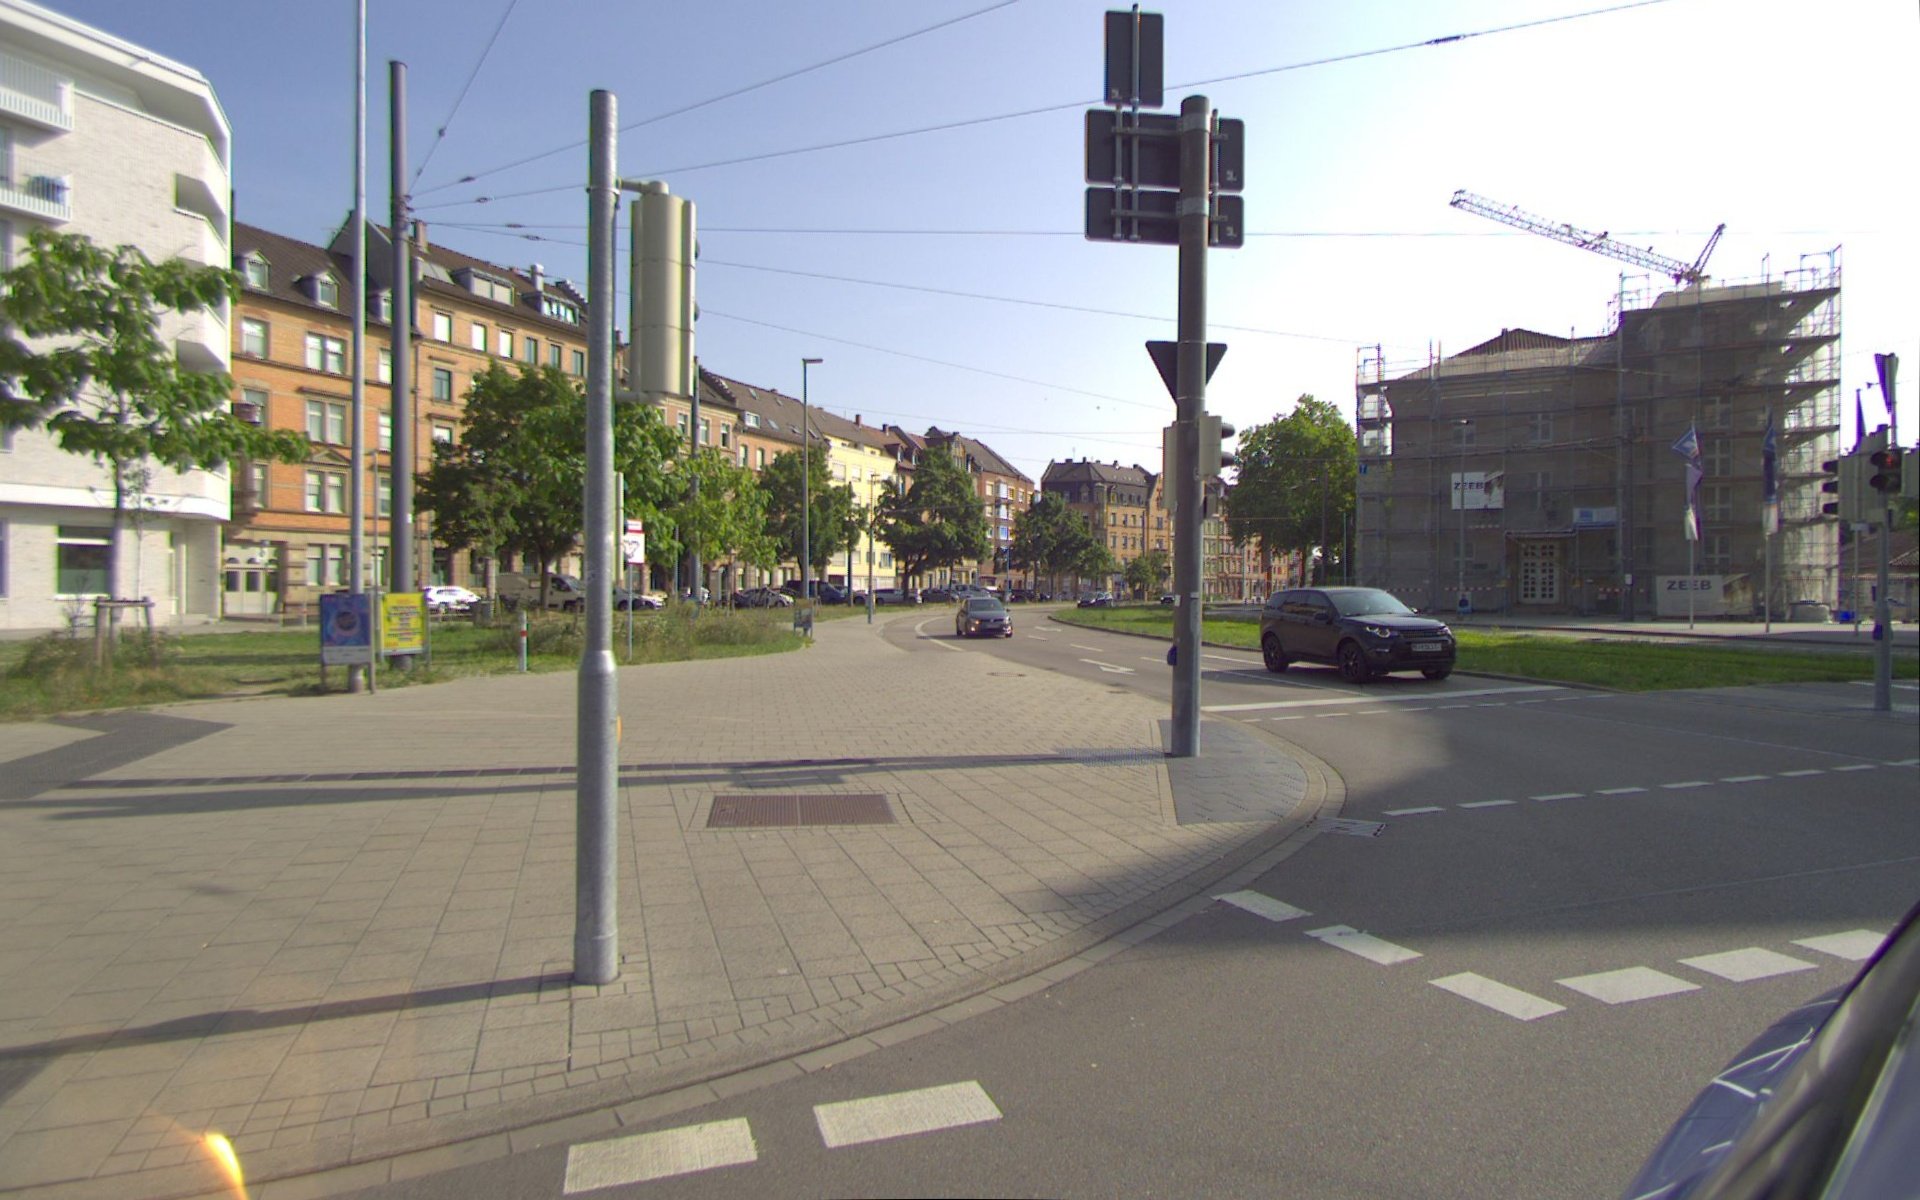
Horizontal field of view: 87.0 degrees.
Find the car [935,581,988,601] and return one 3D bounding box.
[{"bbox_3d":[0.177,-0.869,97.958,4.823,1.861,1.725,1,0,-12],"label":"car"}]

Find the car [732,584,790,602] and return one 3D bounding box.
[{"bbox_3d":[-13.569,-0.483,69.197,3.777,1.265,1.724,0,0,-8],"label":"car"}]

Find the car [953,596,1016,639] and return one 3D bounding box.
[{"bbox_3d":[0.834,0.588,36.842,1.611,1.437,3.901,0,1,-9],"label":"car"}]

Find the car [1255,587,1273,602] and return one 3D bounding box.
[{"bbox_3d":[44.641,-0.804,148.434,1.978,2.003,3.968,-1,1,24],"label":"car"}]

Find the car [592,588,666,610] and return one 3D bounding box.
[{"bbox_3d":[-18.864,-0.073,57.863,3.777,1.265,1.724,0,0,-8],"label":"car"}]

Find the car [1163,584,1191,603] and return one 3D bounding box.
[{"bbox_3d":[23.672,-0.756,110.299,1.981,2.039,3.963,0,1,27],"label":"car"}]

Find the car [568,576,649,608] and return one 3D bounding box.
[{"bbox_3d":[-19.268,-0.438,55.652,3.903,1.728,1.883,0,0,-8],"label":"car"}]

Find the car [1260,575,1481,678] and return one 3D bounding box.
[{"bbox_3d":[7.455,0.417,18.896,1.765,1.699,4.229,1,0,-11],"label":"car"}]

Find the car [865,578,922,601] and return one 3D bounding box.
[{"bbox_3d":[-5.615,-0.898,85.946,4.649,1.787,1.722,1,0,0],"label":"car"}]

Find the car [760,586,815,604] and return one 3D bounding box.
[{"bbox_3d":[-12.144,-0.345,71.480,3.777,1.265,1.724,0,0,-8],"label":"car"}]

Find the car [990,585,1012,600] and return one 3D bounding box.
[{"bbox_3d":[4.887,-0.892,121.099,1.322,1.754,2.748,0,0,37],"label":"car"}]

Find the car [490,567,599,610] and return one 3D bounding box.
[{"bbox_3d":[-21.622,-0.603,52.778,4.950,2.206,1.880,0,0,-1],"label":"car"}]

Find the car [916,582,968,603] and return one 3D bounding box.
[{"bbox_3d":[-1.617,-0.705,91.302,4.649,1.787,1.722,1,0,0],"label":"car"}]

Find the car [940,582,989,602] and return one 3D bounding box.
[{"bbox_3d":[0.386,-0.779,95.424,4.329,1.787,1.724,1,0,-8],"label":"car"}]

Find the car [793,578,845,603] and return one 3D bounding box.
[{"bbox_3d":[-10.347,-0.673,74.538,3.778,1.828,1.788,0,0,-5],"label":"car"}]
